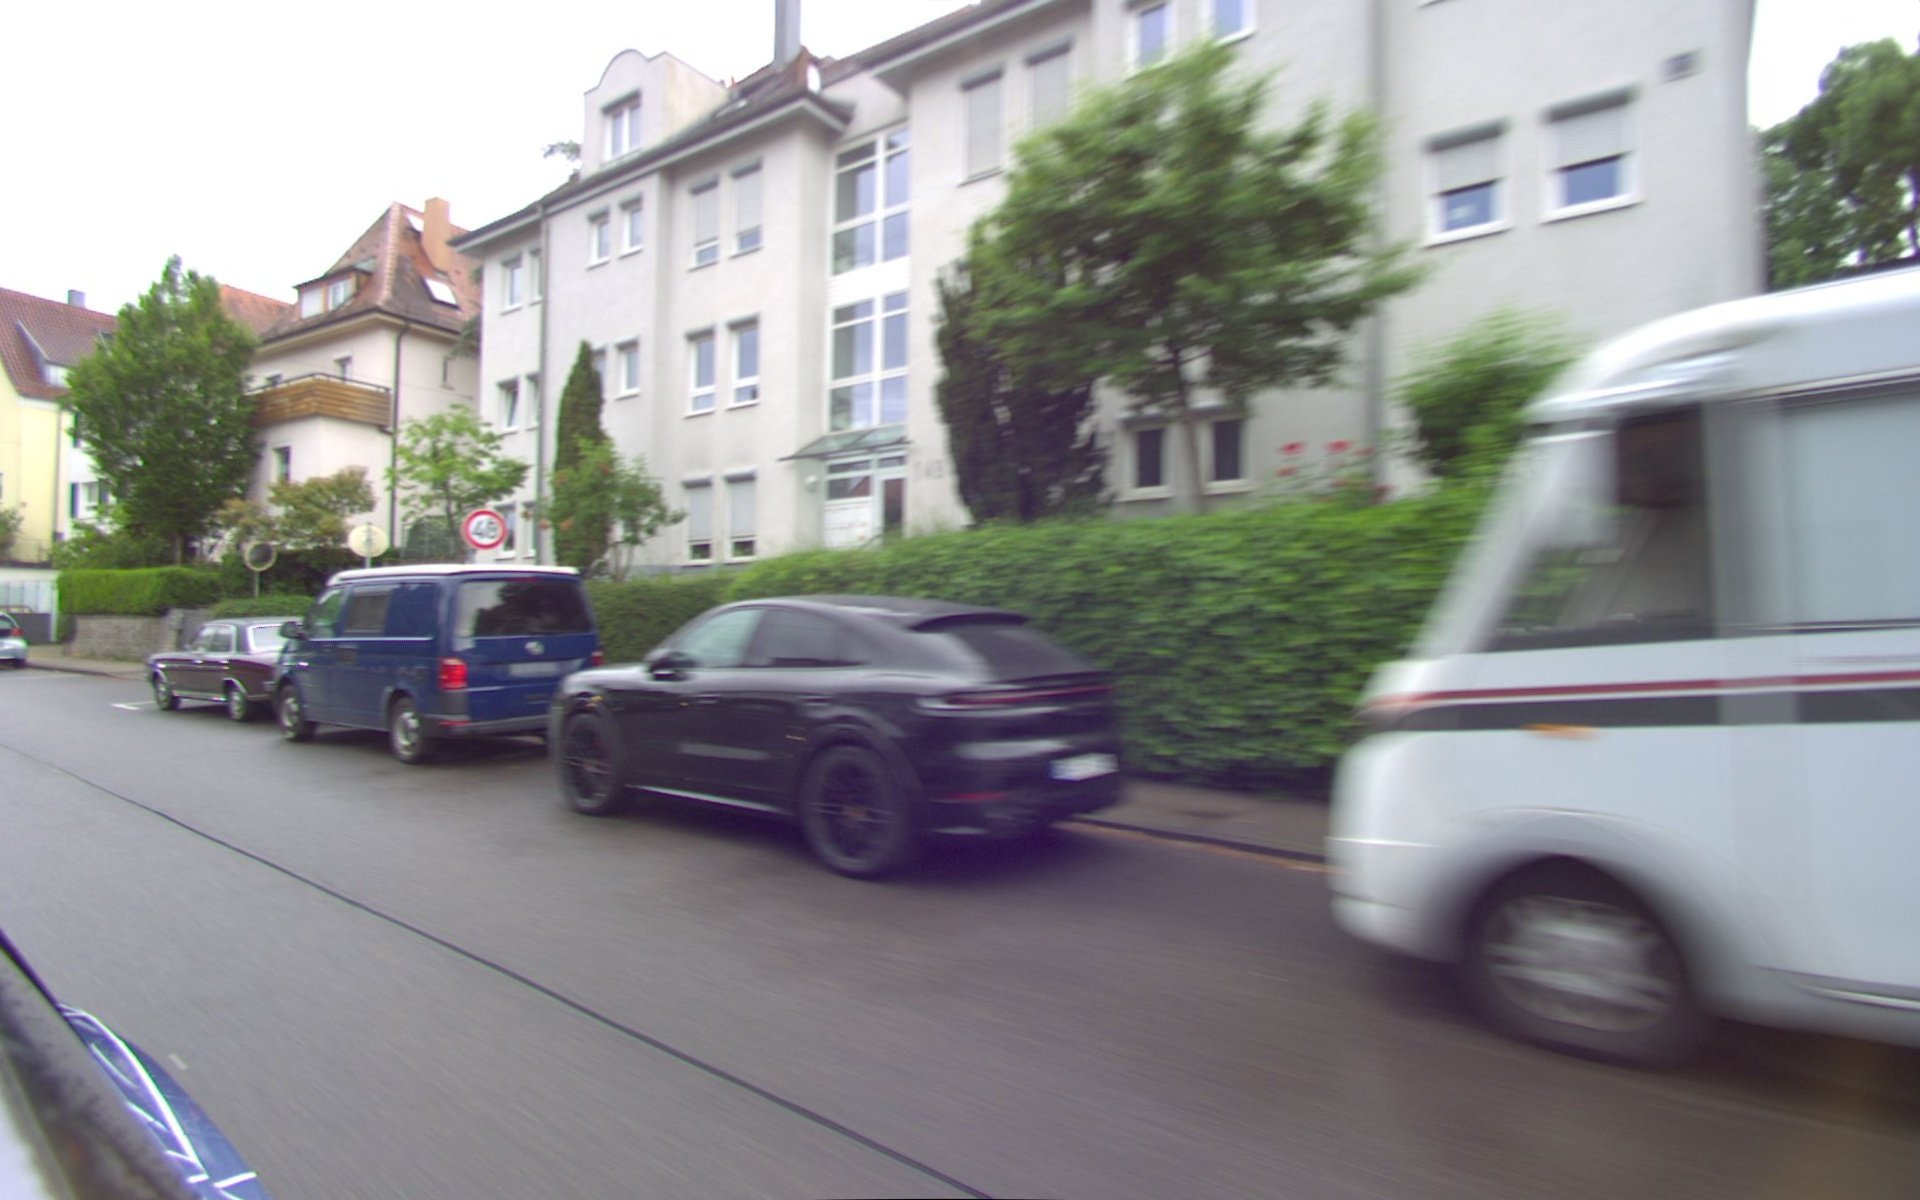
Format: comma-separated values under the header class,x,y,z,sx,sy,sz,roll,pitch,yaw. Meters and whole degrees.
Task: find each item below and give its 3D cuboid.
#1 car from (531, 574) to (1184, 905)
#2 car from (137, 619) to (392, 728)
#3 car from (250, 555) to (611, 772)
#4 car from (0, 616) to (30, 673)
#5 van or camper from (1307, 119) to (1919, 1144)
class,x,y,z,sx,sy,sz,roll,pitch,yaw
car,-0.982,0.751,7.170,4.742,1.607,1.813,-1,-3,40
car,-10.474,0.992,15.128,4.500,1.383,1.661,0,-1,35
car,-6.109,0.634,11.472,4.572,2.003,1.815,-1,-1,36
car,-24.983,1.103,25.177,3.424,1.383,1.665,-1,-1,28
van or camper,4.384,0.082,2.743,6.109,2.746,2.325,-1,-3,39
